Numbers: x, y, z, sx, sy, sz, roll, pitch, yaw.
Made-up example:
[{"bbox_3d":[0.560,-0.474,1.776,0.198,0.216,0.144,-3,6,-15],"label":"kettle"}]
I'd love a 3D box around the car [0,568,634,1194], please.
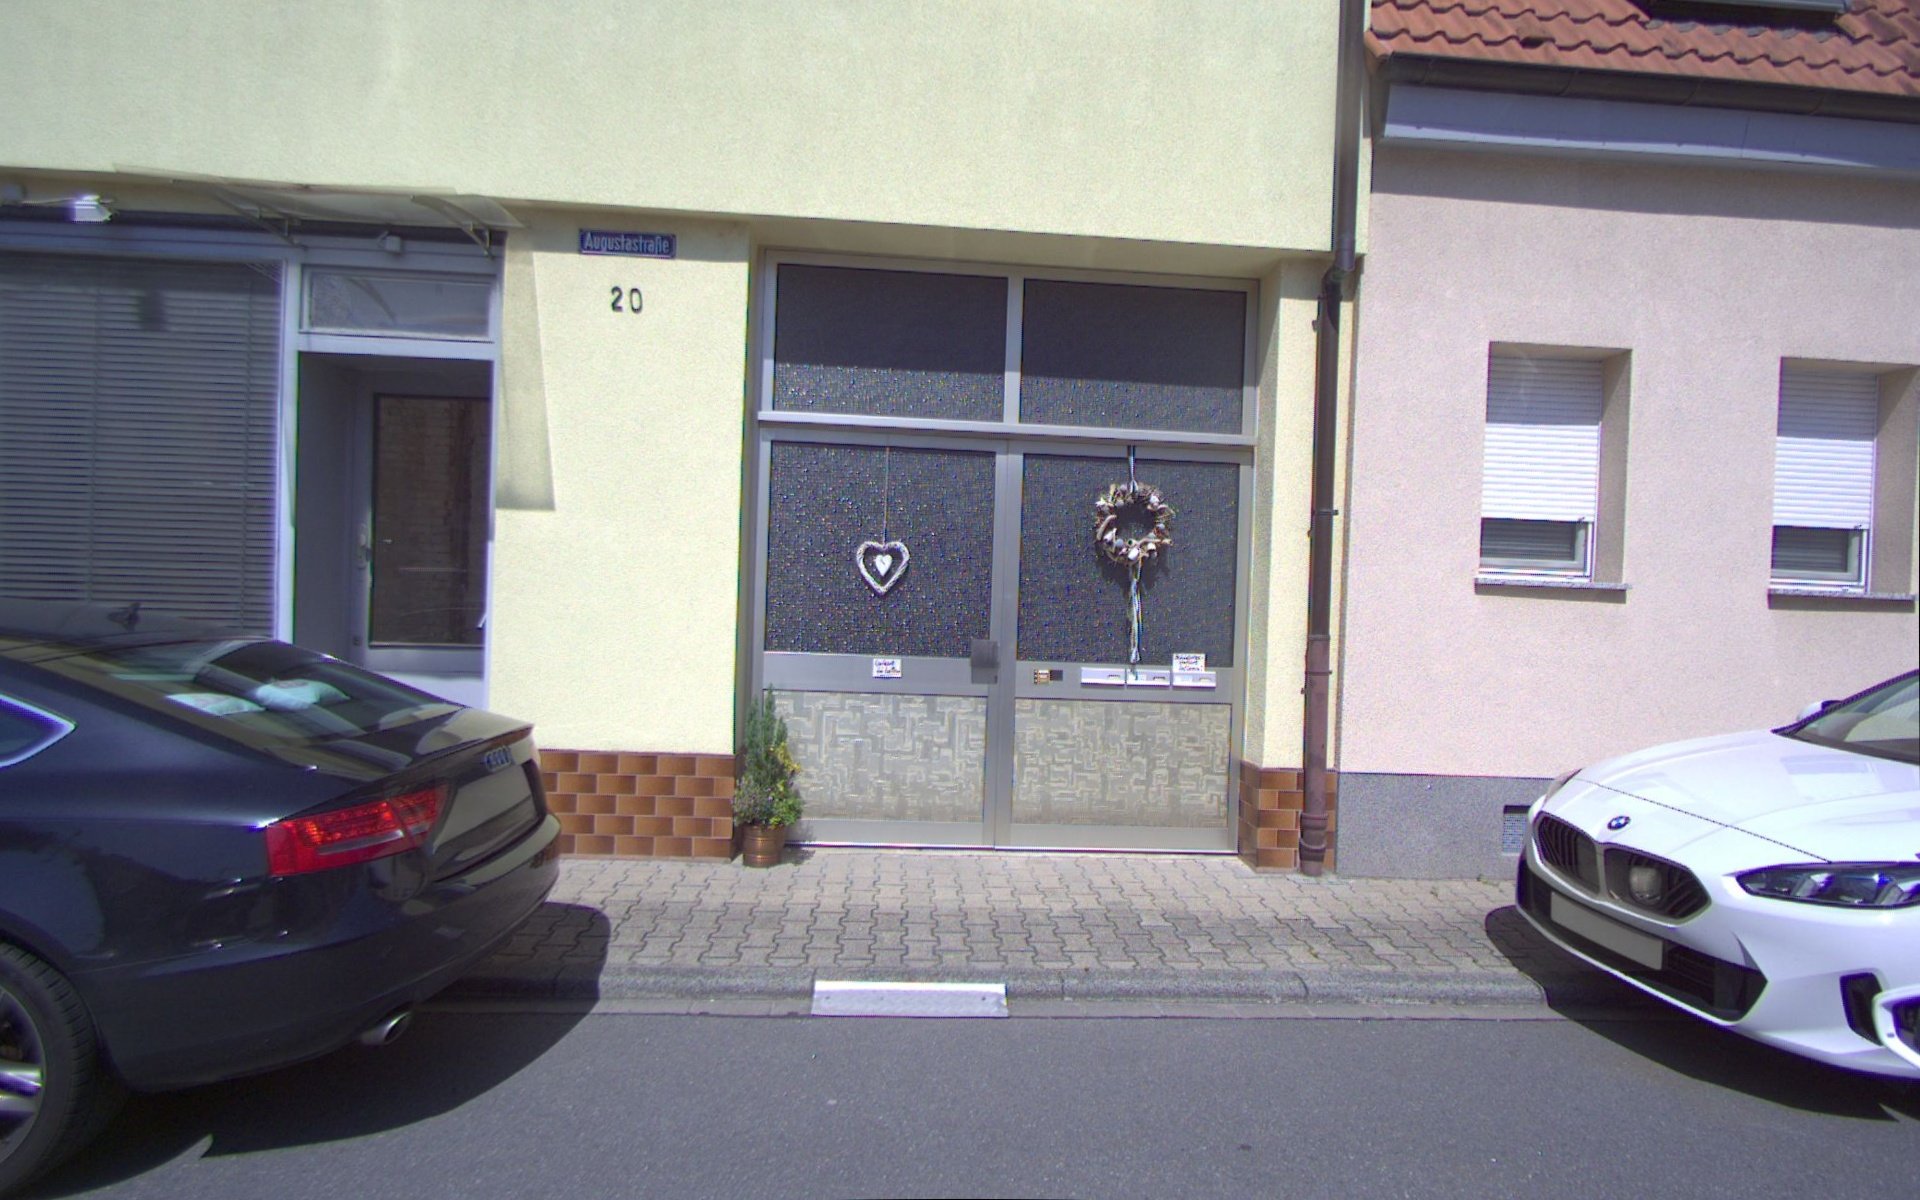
[{"bbox_3d":[-3.614,0.628,3.136,4.544,1.412,1.927,2,-3,-5],"label":"car"}]

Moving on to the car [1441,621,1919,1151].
[{"bbox_3d":[4.350,0.912,3.868,4.135,1.473,1.787,2,-1,-4],"label":"car"}]
